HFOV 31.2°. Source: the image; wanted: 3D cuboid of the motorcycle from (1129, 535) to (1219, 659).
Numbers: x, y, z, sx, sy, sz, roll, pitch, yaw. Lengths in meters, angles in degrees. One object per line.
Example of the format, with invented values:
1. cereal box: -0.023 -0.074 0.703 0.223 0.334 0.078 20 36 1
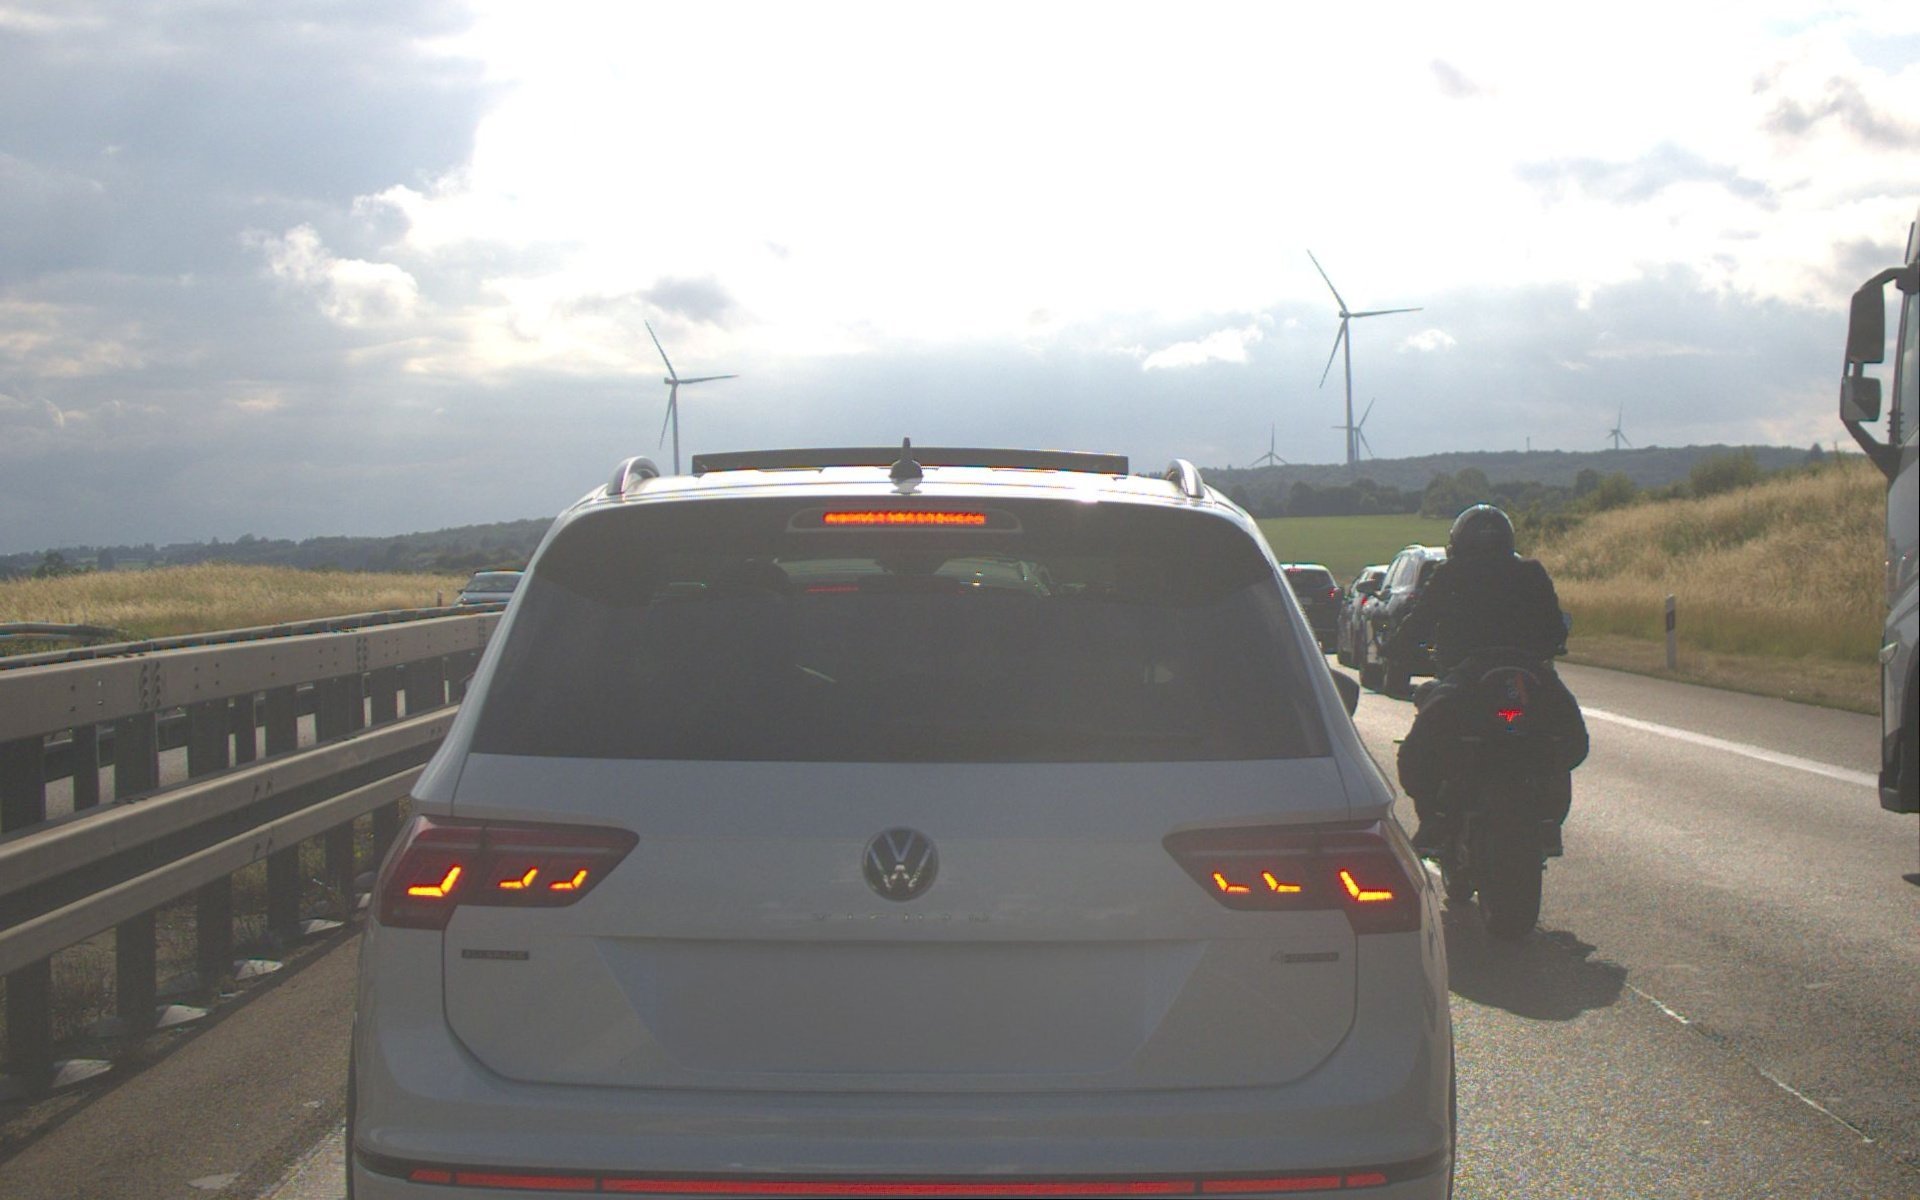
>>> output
1. motorcycle: 2.554 -0.046 41.246 0.895 1.450 2.269 0 0 -1

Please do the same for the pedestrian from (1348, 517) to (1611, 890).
1. pedestrian: 2.076 0.398 13.858 0.895 1.450 0.984 0 0 -1

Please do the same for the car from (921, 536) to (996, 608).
1. car: -0.059 -0.648 80.052 1.704 1.644 4.000 0 0 -1

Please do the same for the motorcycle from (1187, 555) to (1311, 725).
1. motorcycle: 2.526 0.332 30.263 0.895 1.450 1.982 0 0 -1

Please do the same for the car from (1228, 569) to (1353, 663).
1. car: 5.587 0.246 58.460 1.704 1.540 4.000 0 0 -1

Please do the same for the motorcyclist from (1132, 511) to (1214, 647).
1. motorcyclist: 2.550 -0.258 41.226 0.895 1.611 1.022 0 0 -1

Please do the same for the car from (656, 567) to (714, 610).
1. car: -9.552 -0.401 119.532 1.732 1.480 4.000 0 0 0

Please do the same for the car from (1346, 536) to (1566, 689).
1. car: 5.583 0.118 39.161 1.821 1.596 4.235 1 0 0

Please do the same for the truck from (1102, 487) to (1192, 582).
1. truck: 7.263 -2.569 134.671 3.184 3.581 11.130 0 1 1

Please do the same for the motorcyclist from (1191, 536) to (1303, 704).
1. motorcyclist: 2.515 0.168 30.232 0.895 1.450 0.892 0 0 -1

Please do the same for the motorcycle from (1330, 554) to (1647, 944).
1. motorcycle: 2.087 0.544 13.917 0.895 1.450 2.269 0 0 -1

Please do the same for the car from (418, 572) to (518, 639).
1. car: -11.076 0.110 77.595 1.732 1.480 4.000 0 0 0

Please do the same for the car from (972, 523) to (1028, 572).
1. car: 1.264 -1.656 110.185 1.704 1.540 4.000 0 0 -1

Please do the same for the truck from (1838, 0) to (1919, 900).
1. truck: 5.595 -0.658 13.462 2.601 4.027 6.120 0 1 -1

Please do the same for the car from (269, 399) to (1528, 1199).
1. car: -0.105 0.536 6.834 1.770 1.670 4.000 0 0 -1
